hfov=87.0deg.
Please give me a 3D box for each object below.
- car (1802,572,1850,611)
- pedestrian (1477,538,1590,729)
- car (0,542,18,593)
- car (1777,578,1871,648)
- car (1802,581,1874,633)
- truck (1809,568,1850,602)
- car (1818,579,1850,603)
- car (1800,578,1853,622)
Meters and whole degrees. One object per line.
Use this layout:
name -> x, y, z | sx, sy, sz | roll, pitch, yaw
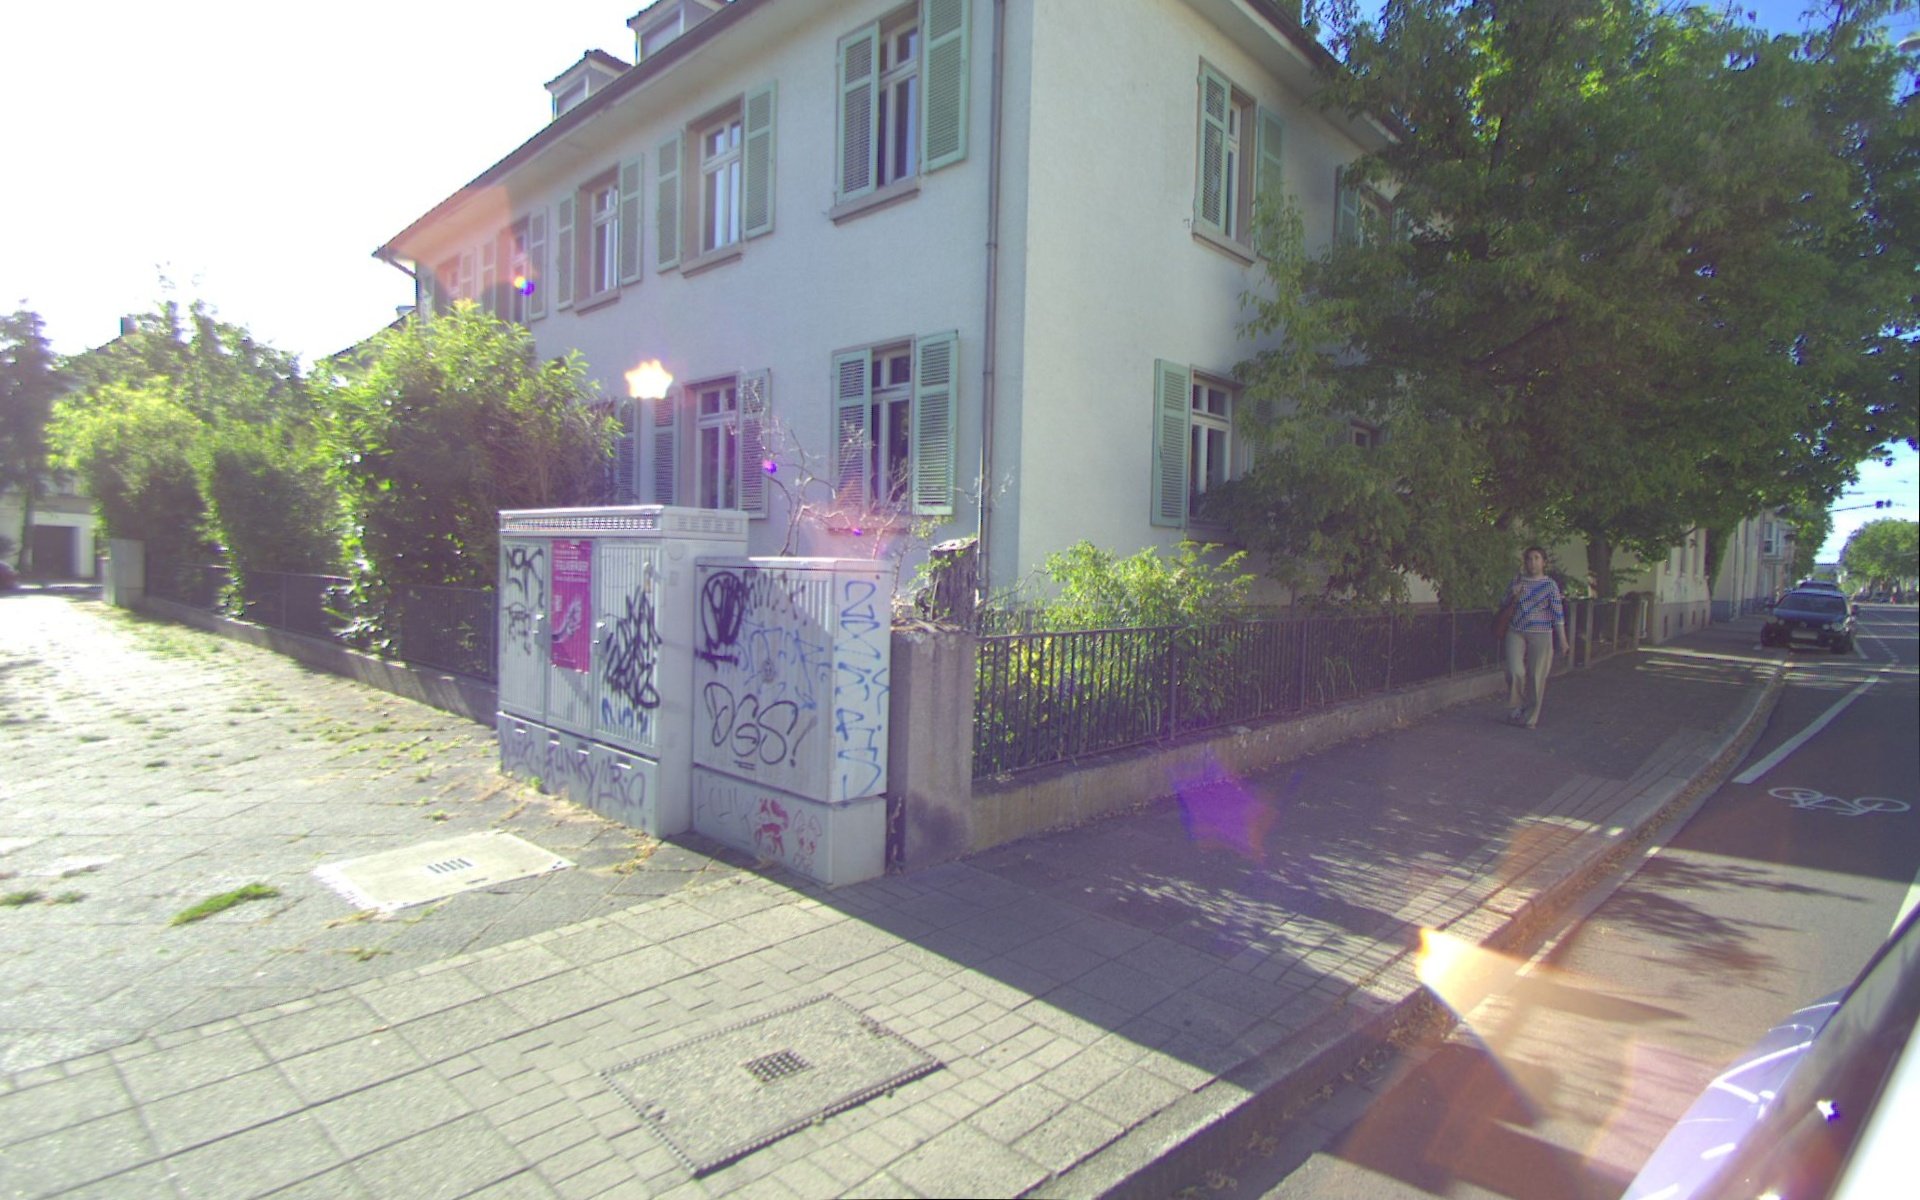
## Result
car -> 46.806, -0.487, 54.747 | 1.903, 2.012, 4.497 | 1, 1, 40
pedestrian -> 5.494, 0.283, 9.686 | 0.717, 1.708, 0.858 | 4, 3, 40
car -> -26.944, -0.861, 25.866 | 1.453, 1.361, 3.973 | 3, 2, 30
car -> 21.939, 0.265, 25.658 | 1.665, 1.582, 3.714 | 3, 3, 42
car -> 27.910, 0.171, 32.235 | 1.599, 1.544, 3.499 | 1, 1, 39
truck -> 69.761, -1.213, 81.170 | 2.294, 2.507, 6.055 | 3, 3, 41
car -> 65.900, -0.689, 76.300 | 1.738, 1.768, 4.192 | 1, 1, 41
car -> 33.300, -0.018, 38.953 | 1.455, 1.619, 3.247 | 1, 1, 39
